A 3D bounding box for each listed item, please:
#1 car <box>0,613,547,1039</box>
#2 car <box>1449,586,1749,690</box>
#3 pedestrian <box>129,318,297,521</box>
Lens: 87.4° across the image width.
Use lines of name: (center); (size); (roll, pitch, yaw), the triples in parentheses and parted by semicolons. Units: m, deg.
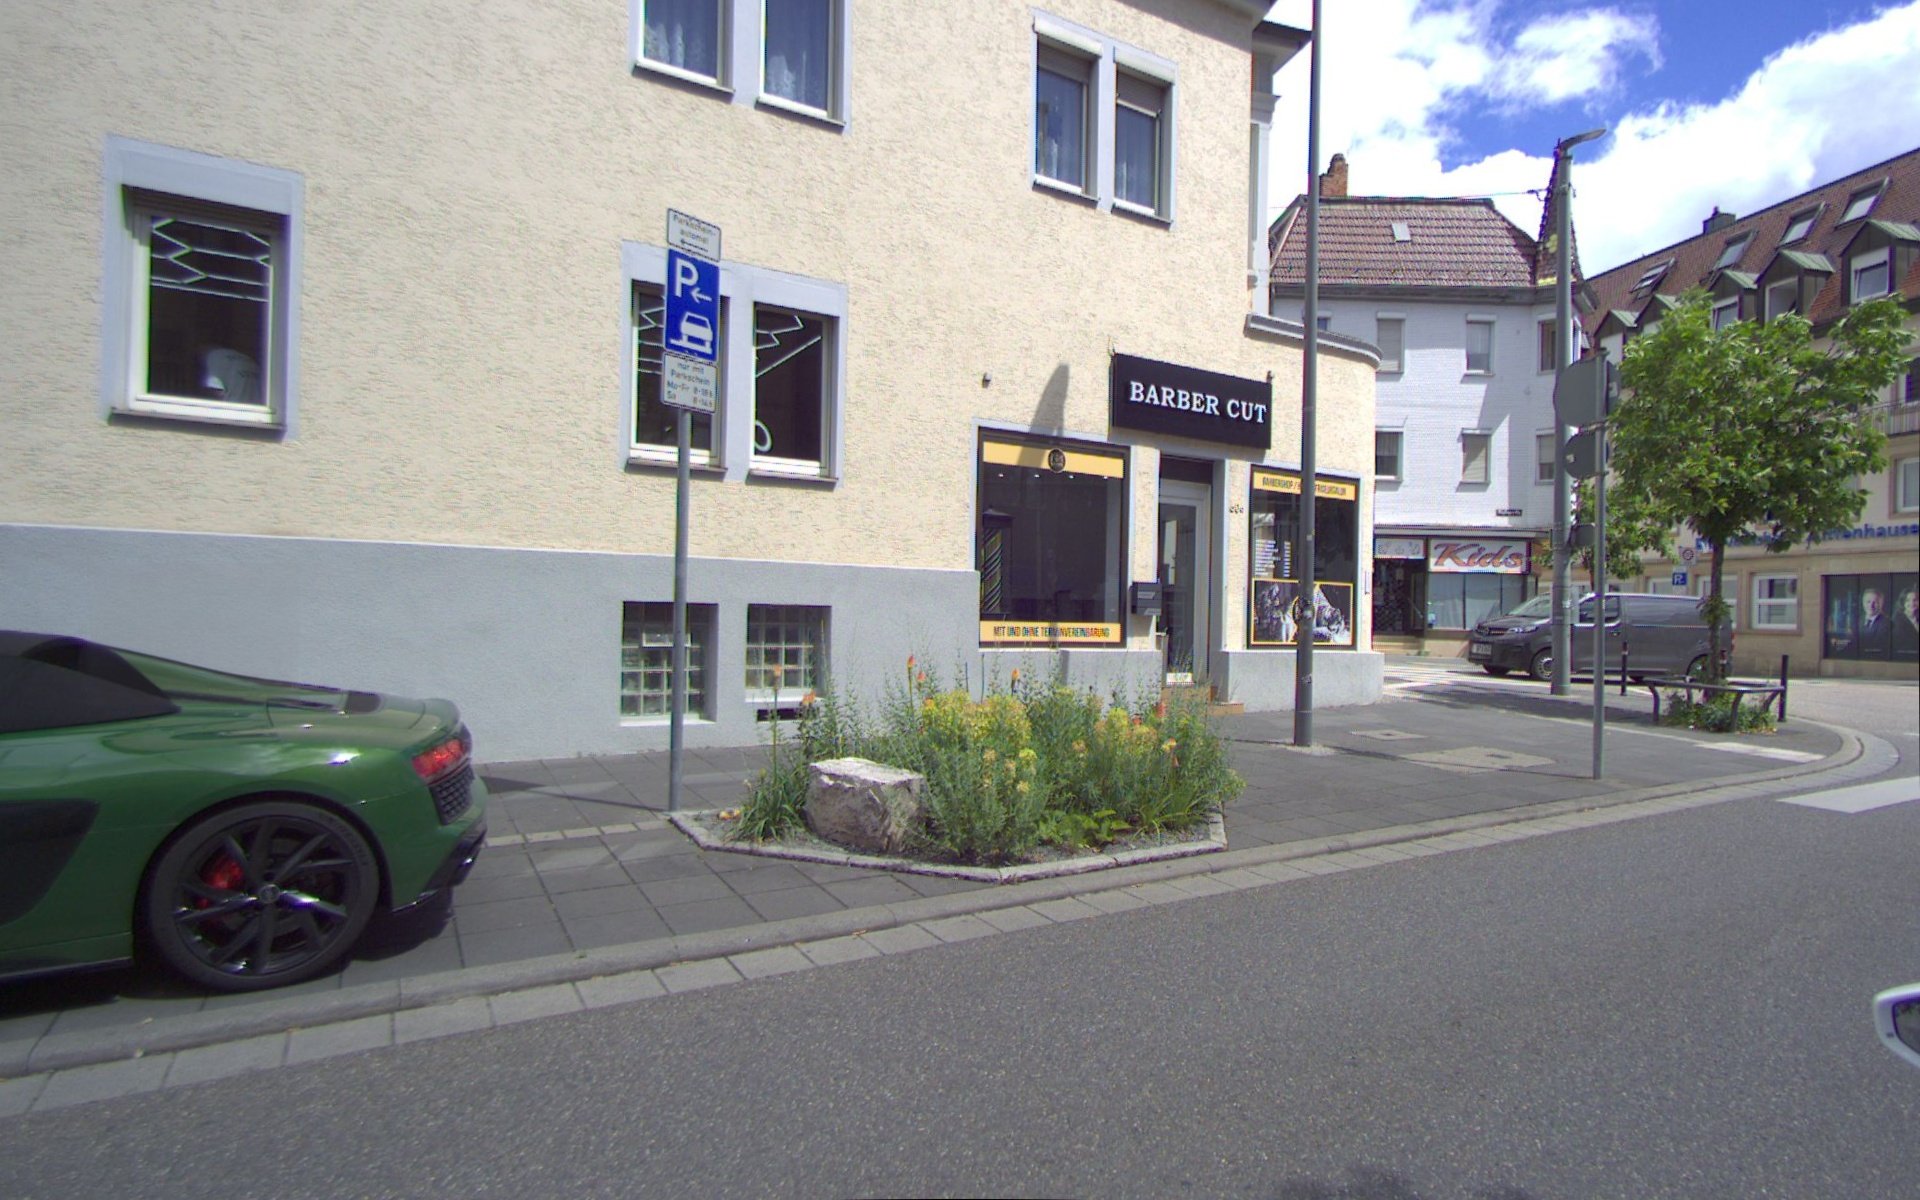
car: (-3.986, 0.708, 3.564); (4.470, 1.240, 1.810); (1, 2, -30)
car: (13.110, 0.742, 20.828); (4.902, 1.873, 2.047); (2, 1, -1)
pedestrian: (-5.687, -1.349, 7.679); (0.730, 1.412, 0.680); (2, 1, 7)
